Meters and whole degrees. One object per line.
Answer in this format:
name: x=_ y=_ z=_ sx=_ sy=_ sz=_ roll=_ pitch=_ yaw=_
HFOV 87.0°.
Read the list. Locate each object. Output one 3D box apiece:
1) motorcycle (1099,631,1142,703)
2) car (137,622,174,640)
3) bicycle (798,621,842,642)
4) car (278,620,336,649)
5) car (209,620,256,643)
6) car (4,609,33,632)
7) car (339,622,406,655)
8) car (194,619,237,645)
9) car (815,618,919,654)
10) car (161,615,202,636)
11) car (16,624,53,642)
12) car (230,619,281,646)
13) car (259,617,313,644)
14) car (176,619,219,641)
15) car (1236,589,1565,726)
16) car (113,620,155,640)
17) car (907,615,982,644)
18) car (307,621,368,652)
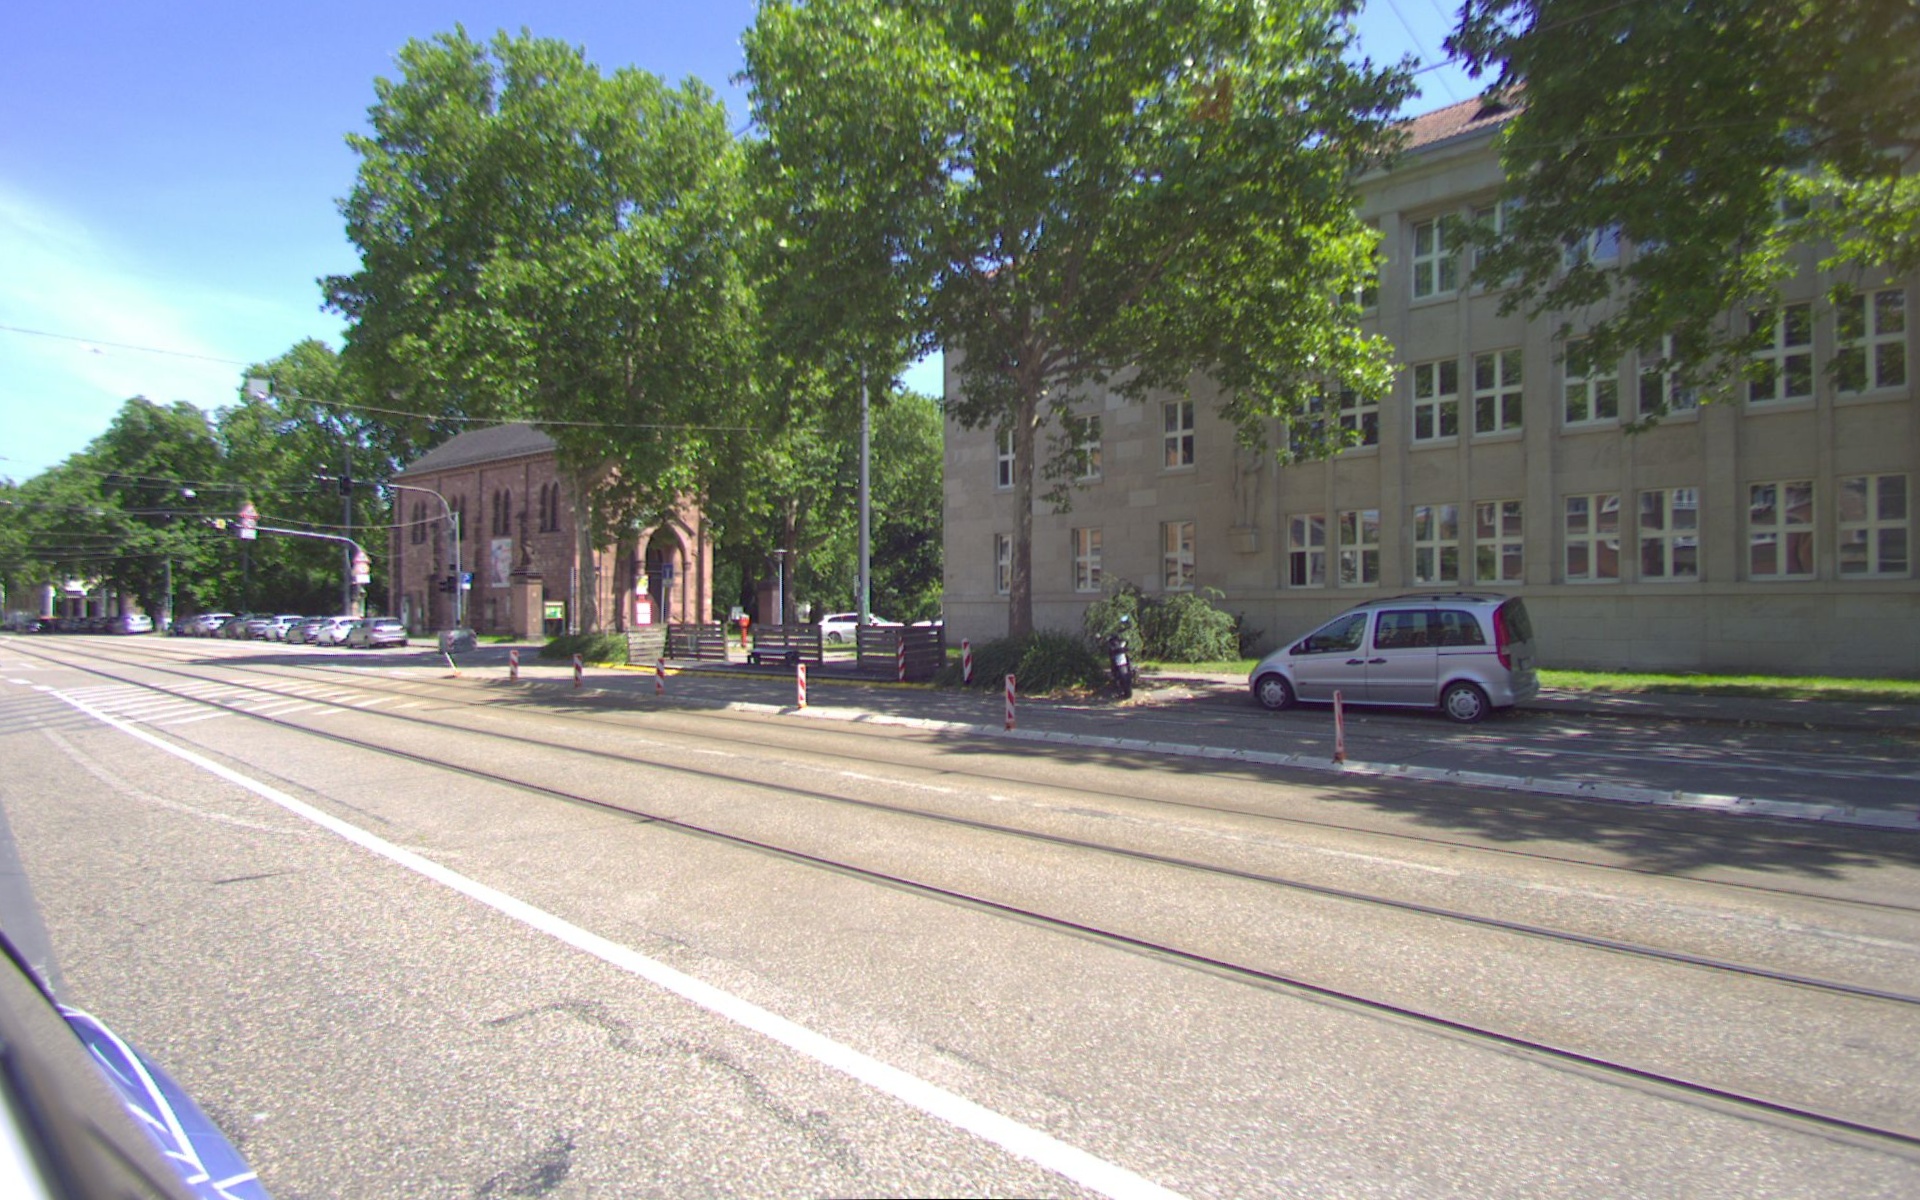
motorcycle: x=3.043 y=1.232 z=19.062 sx=0.720 sy=1.076 sz=1.866 roll=-1 pitch=5 yaw=12
car: x=-63.644 y=2.441 z=80.038 sx=3.764 sy=1.390 sz=1.628 roll=-1 pitch=0 yaw=42
bicycle: x=-6.227 y=1.386 z=45.031 sx=1.896 sy=0.907 sz=0.639 roll=-1 pitch=0 yaw=23
car: x=-35.694 y=1.866 z=55.324 sx=4.057 sy=1.470 sz=1.641 roll=-1 pitch=0 yaw=42
car: x=-47.477 y=2.037 z=65.982 sx=3.999 sy=1.386 sz=1.649 roll=-1 pitch=0 yaw=42
car: x=-98.479 y=2.163 z=105.820 sx=3.759 sy=2.314 sz=1.798 roll=-1 pitch=0 yaw=40
car: x=-28.295 y=1.808 z=48.685 sx=4.221 sy=1.470 sz=1.640 roll=-1 pitch=0 yaw=43
car: x=-51.244 y=2.192 z=69.671 sx=3.906 sy=1.665 sz=1.723 roll=-1 pitch=0 yaw=44
car: x=-4.256 y=1.659 z=46.889 sx=4.482 sy=1.520 sz=1.910 roll=-1 pitch=0 yaw=8
car: x=-59.377 y=1.919 z=77.178 sx=4.186 sy=1.509 sz=1.724 roll=-1 pitch=0 yaw=42
car: x=-78.555 y=2.786 z=85.862 sx=4.343 sy=1.405 sz=1.728 roll=-1 pitch=0 yaw=40
car: x=-43.427 y=1.996 z=62.361 sx=3.752 sy=1.535 sz=1.724 roll=-1 pitch=0 yaw=42
car: x=-39.346 y=1.737 z=59.023 sx=3.752 sy=1.470 sz=1.724 roll=-1 pitch=0 yaw=42
car: x=-55.448 y=2.177 z=73.584 sx=4.186 sy=1.509 sz=1.724 roll=-1 pitch=0 yaw=42
car: x=6.752 y=0.783 z=15.820 sx=4.303 sy=1.824 sz=1.971 roll=-1 pitch=0 yaw=45
car: x=-68.782 y=2.487 z=84.240 sx=3.996 sy=1.574 sz=1.952 roll=-1 pitch=0 yaw=40
car: x=-0.775 y=1.522 z=51.716 sx=3.556 sy=1.387 sz=1.715 roll=-1 pitch=0 yaw=11
car: x=-31.967 y=1.839 z=51.921 sx=4.059 sy=1.470 sz=1.640 roll=-1 pitch=0 yaw=43
